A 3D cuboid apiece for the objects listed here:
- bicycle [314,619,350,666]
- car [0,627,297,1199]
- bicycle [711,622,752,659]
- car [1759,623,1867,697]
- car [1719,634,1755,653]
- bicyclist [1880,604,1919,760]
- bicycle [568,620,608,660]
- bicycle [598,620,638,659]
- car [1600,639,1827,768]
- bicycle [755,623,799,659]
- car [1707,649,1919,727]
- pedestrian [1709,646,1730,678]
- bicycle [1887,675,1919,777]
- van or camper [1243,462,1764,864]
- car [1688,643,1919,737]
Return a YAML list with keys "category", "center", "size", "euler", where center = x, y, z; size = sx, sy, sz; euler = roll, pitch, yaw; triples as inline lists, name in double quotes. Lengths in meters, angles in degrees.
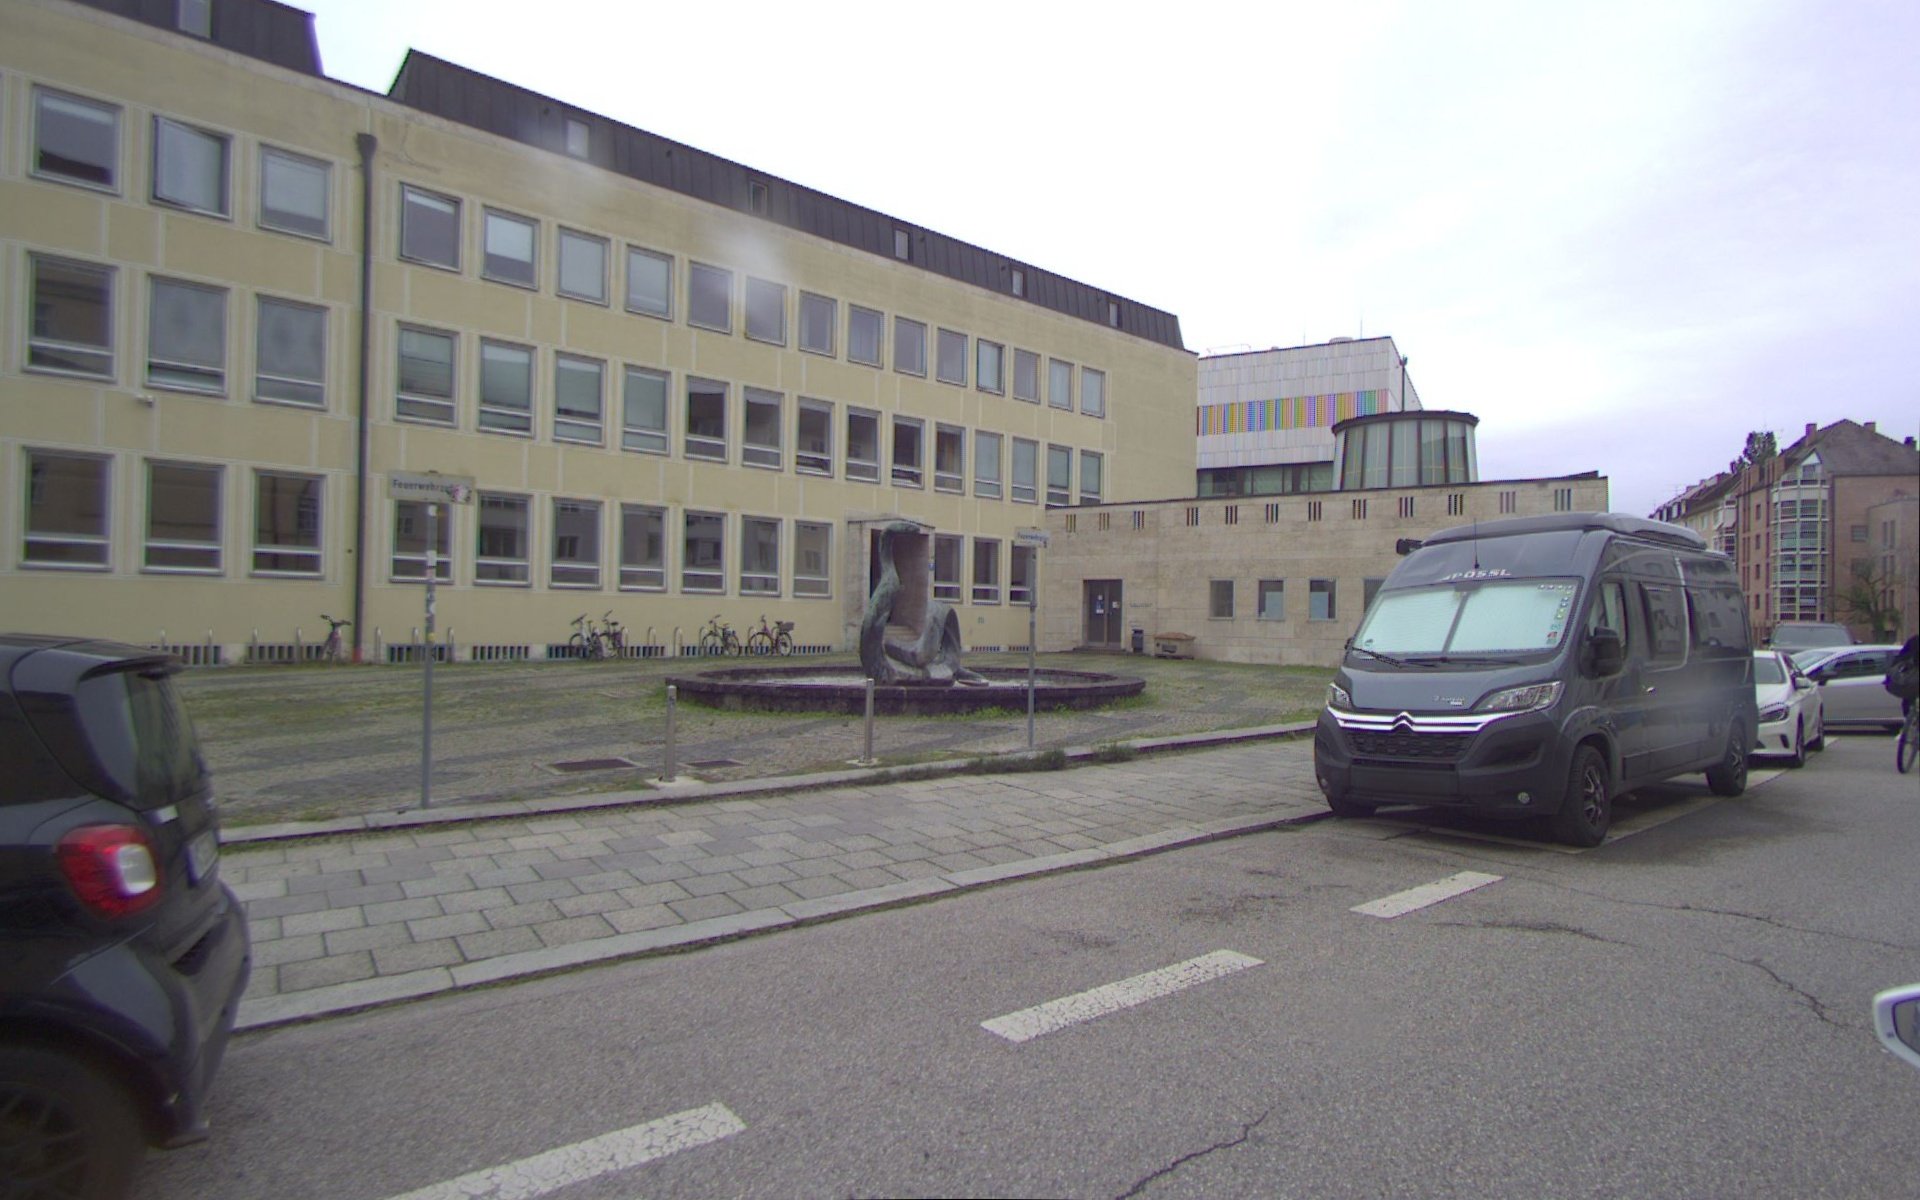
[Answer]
- category: "bicycle"
  center: [-13.653, 0.908, 21.828]
  size: [0.411, 0.957, 1.393]
  euler: [1, 0, -43]
- category: "car"
  center: [-3.325, 0.817, 2.361]
  size: [2.854, 1.484, 1.511]
  euler: [2, -3, -32]
- category: "bicycle"
  center: [-6.394, 1.121, 28.071]
  size: [0.411, 0.957, 1.457]
  euler: [1, 0, -43]
- category: "car"
  center: [22.863, 1.576, 27.078]
  size: [2.027, 1.759, 4.866]
  euler: [1, -2, 38]
- category: "car"
  center: [66.439, 3.730, 85.917]
  size: [1.607, 1.503, 3.608]
  euler: [1, 0, 24]
- category: "bicyclist"
  center: [11.454, 0.953, 11.835]
  size: [0.808, 1.794, 0.738]
  euler: [1, -3, -40]
- category: "bicycle"
  center: [-9.491, 1.008, 25.580]
  size: [0.411, 0.957, 1.457]
  euler: [1, 0, -43]
- category: "bicycle"
  center: [-8.929, 1.022, 26.194]
  size: [0.411, 0.957, 1.457]
  euler: [1, 0, -43]
- category: "car"
  center: [10.401, 1.307, 13.750]
  size: [1.973, 1.469, 4.190]
  euler: [-3, -4, 44]
- category: "bicycle"
  center: [-5.286, 1.165, 28.944]
  size: [0.411, 0.957, 1.690]
  euler: [1, 0, -42]
- category: "car"
  center: [17.196, 1.678, 19.475]
  size: [3.917, 1.439, 1.816]
  euler: [-1, -3, 13]
- category: "pedestrian"
  center: [40.936, 3.336, 54.135]
  size: [0.753, 1.651, 0.915]
  euler: [0, -2, 44]
- category: "bicycle"
  center: [11.395, 1.444, 11.746]
  size: [1.922, 1.083, 0.580]
  euler: [2, -3, -41]
- category: "van or camper"
  center: [5.359, 0.543, 9.400]
  size: [6.038, 2.615, 2.278]
  euler: [2, -4, -41]
- category: "car"
  center: [15.093, 1.517, 17.297]
  size: [3.732, 1.527, 1.716]
  euler: [-1, -3, 14]
